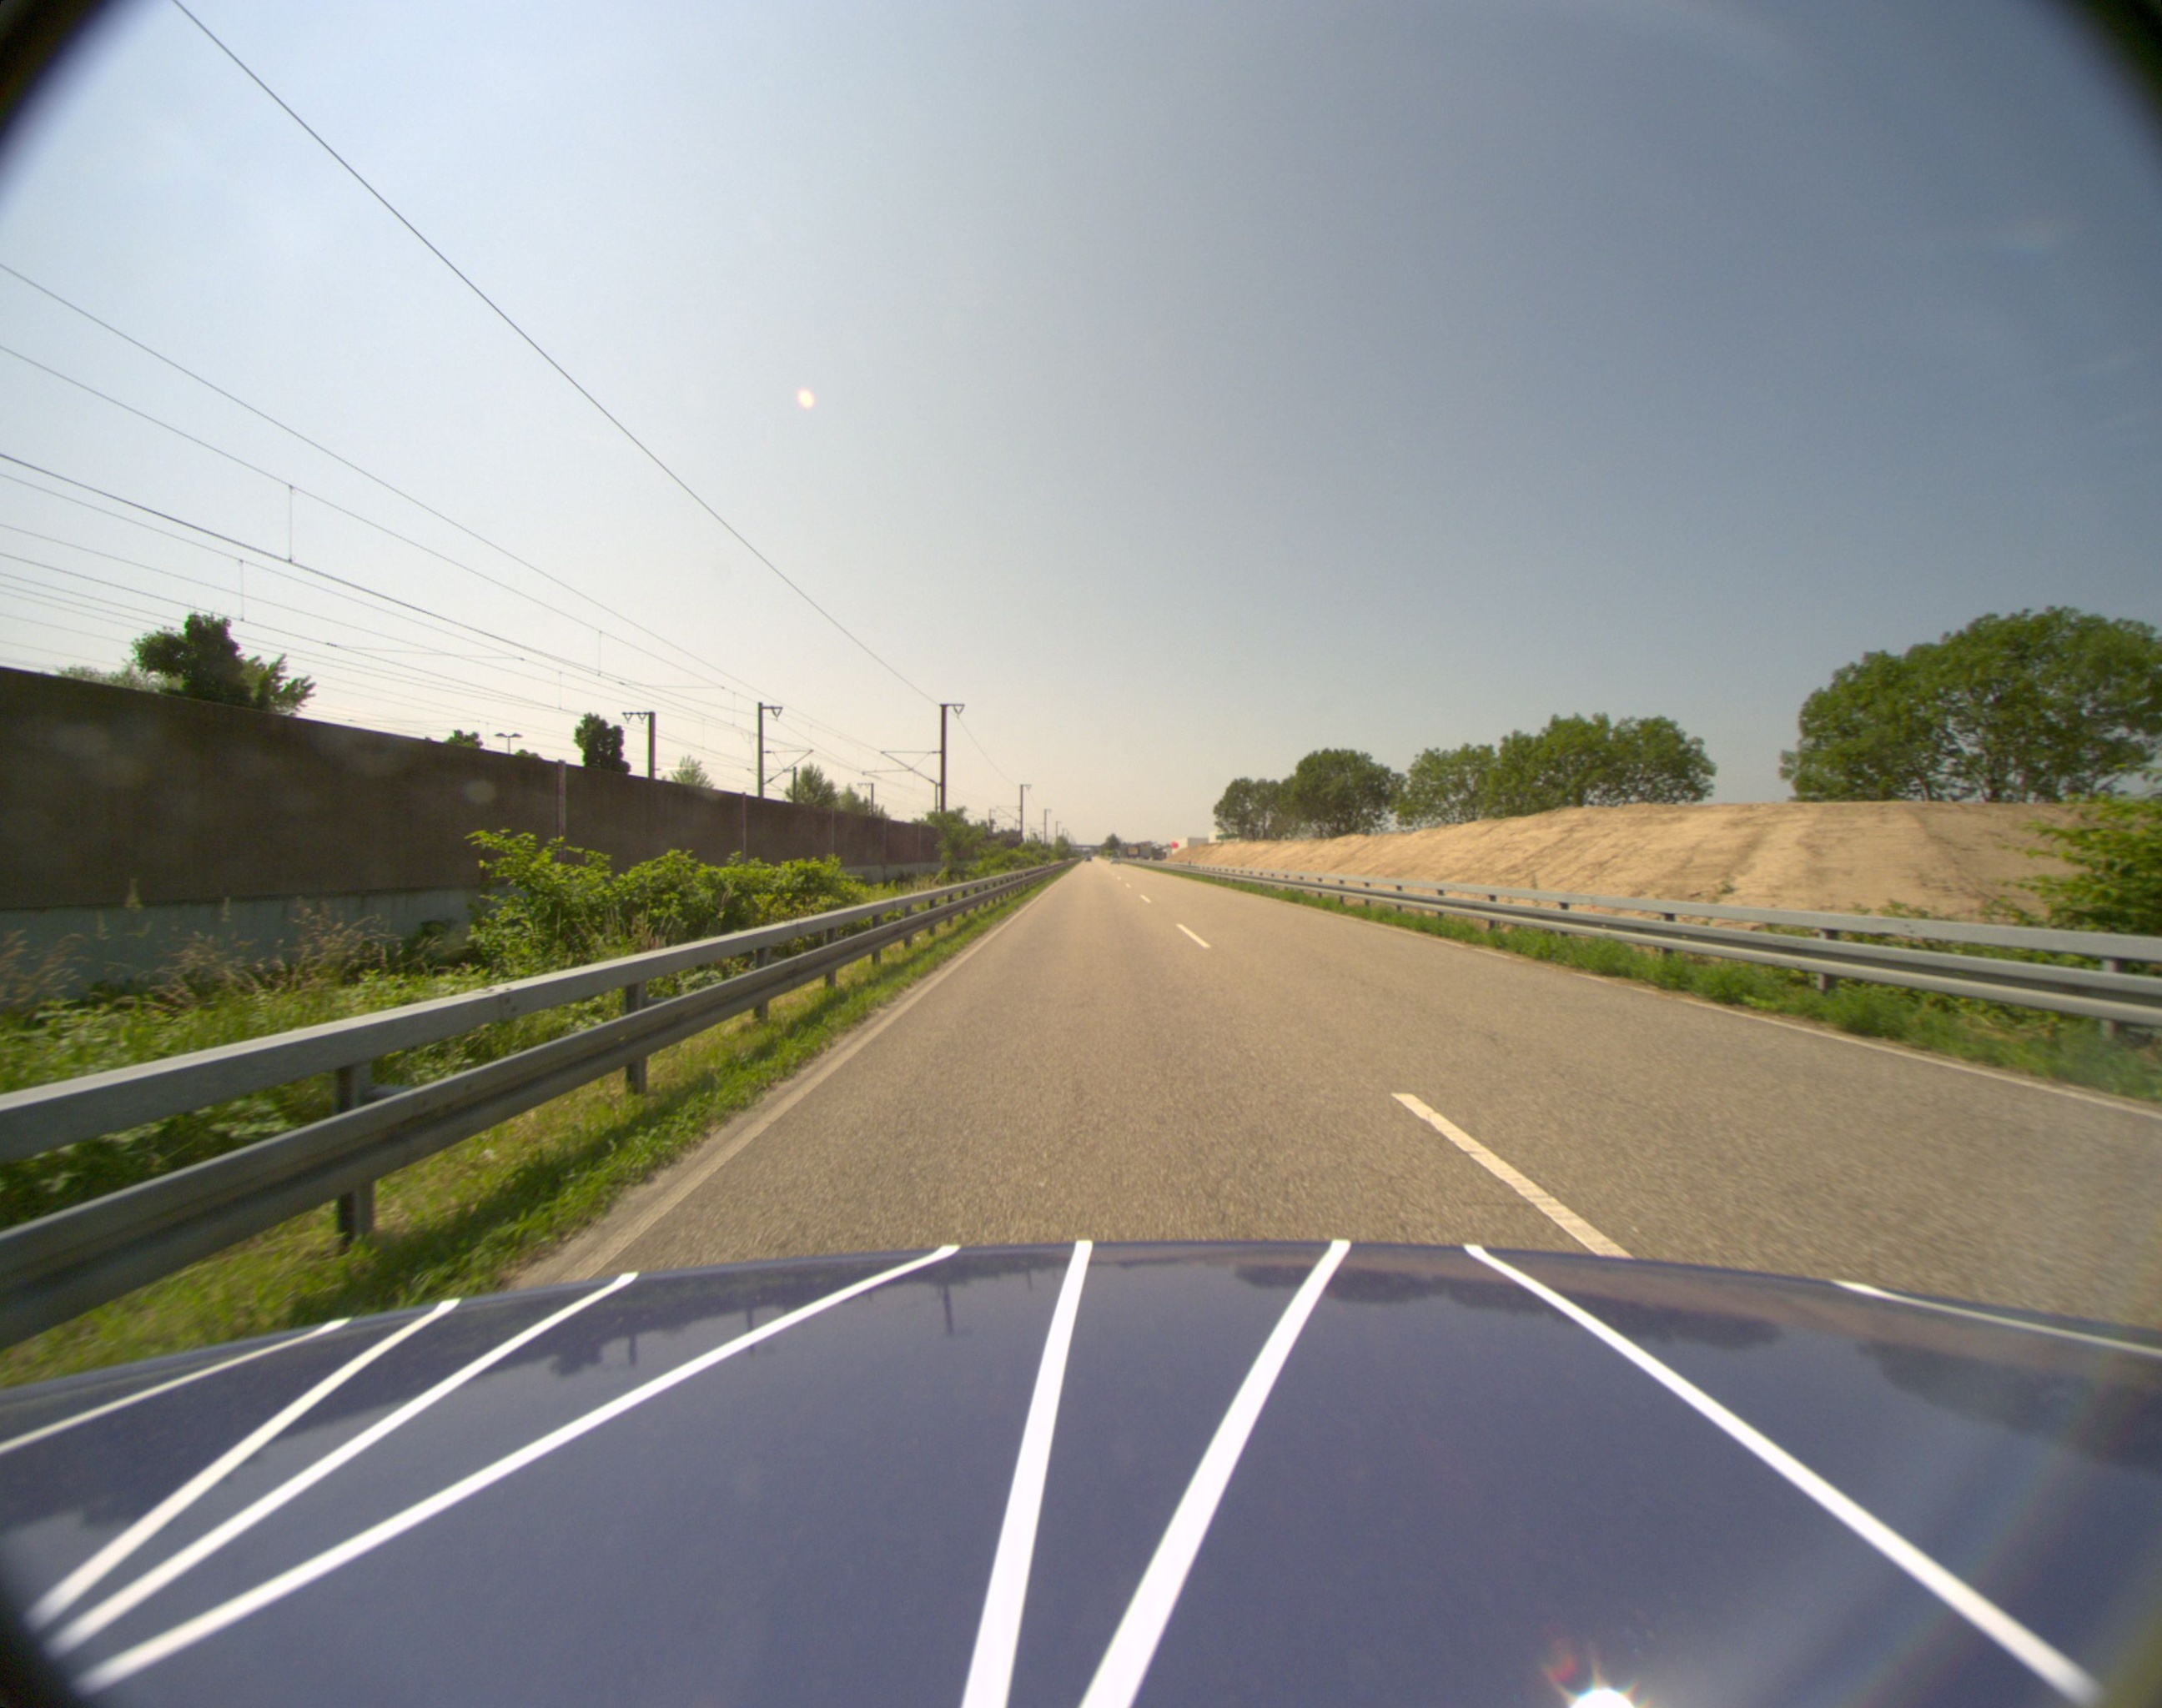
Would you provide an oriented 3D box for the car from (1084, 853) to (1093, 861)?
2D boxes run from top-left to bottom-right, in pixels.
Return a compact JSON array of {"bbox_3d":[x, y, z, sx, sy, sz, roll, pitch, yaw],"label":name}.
[{"bbox_3d":[1.914,0.858,194.275,1.999,2.002,3.999,-1,0,-1],"label":"car"}]

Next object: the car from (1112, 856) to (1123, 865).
[{"bbox_3d":[6.261,1.060,130.550,1.599,1.567,3.828,-1,0,0],"label":"car"}]
